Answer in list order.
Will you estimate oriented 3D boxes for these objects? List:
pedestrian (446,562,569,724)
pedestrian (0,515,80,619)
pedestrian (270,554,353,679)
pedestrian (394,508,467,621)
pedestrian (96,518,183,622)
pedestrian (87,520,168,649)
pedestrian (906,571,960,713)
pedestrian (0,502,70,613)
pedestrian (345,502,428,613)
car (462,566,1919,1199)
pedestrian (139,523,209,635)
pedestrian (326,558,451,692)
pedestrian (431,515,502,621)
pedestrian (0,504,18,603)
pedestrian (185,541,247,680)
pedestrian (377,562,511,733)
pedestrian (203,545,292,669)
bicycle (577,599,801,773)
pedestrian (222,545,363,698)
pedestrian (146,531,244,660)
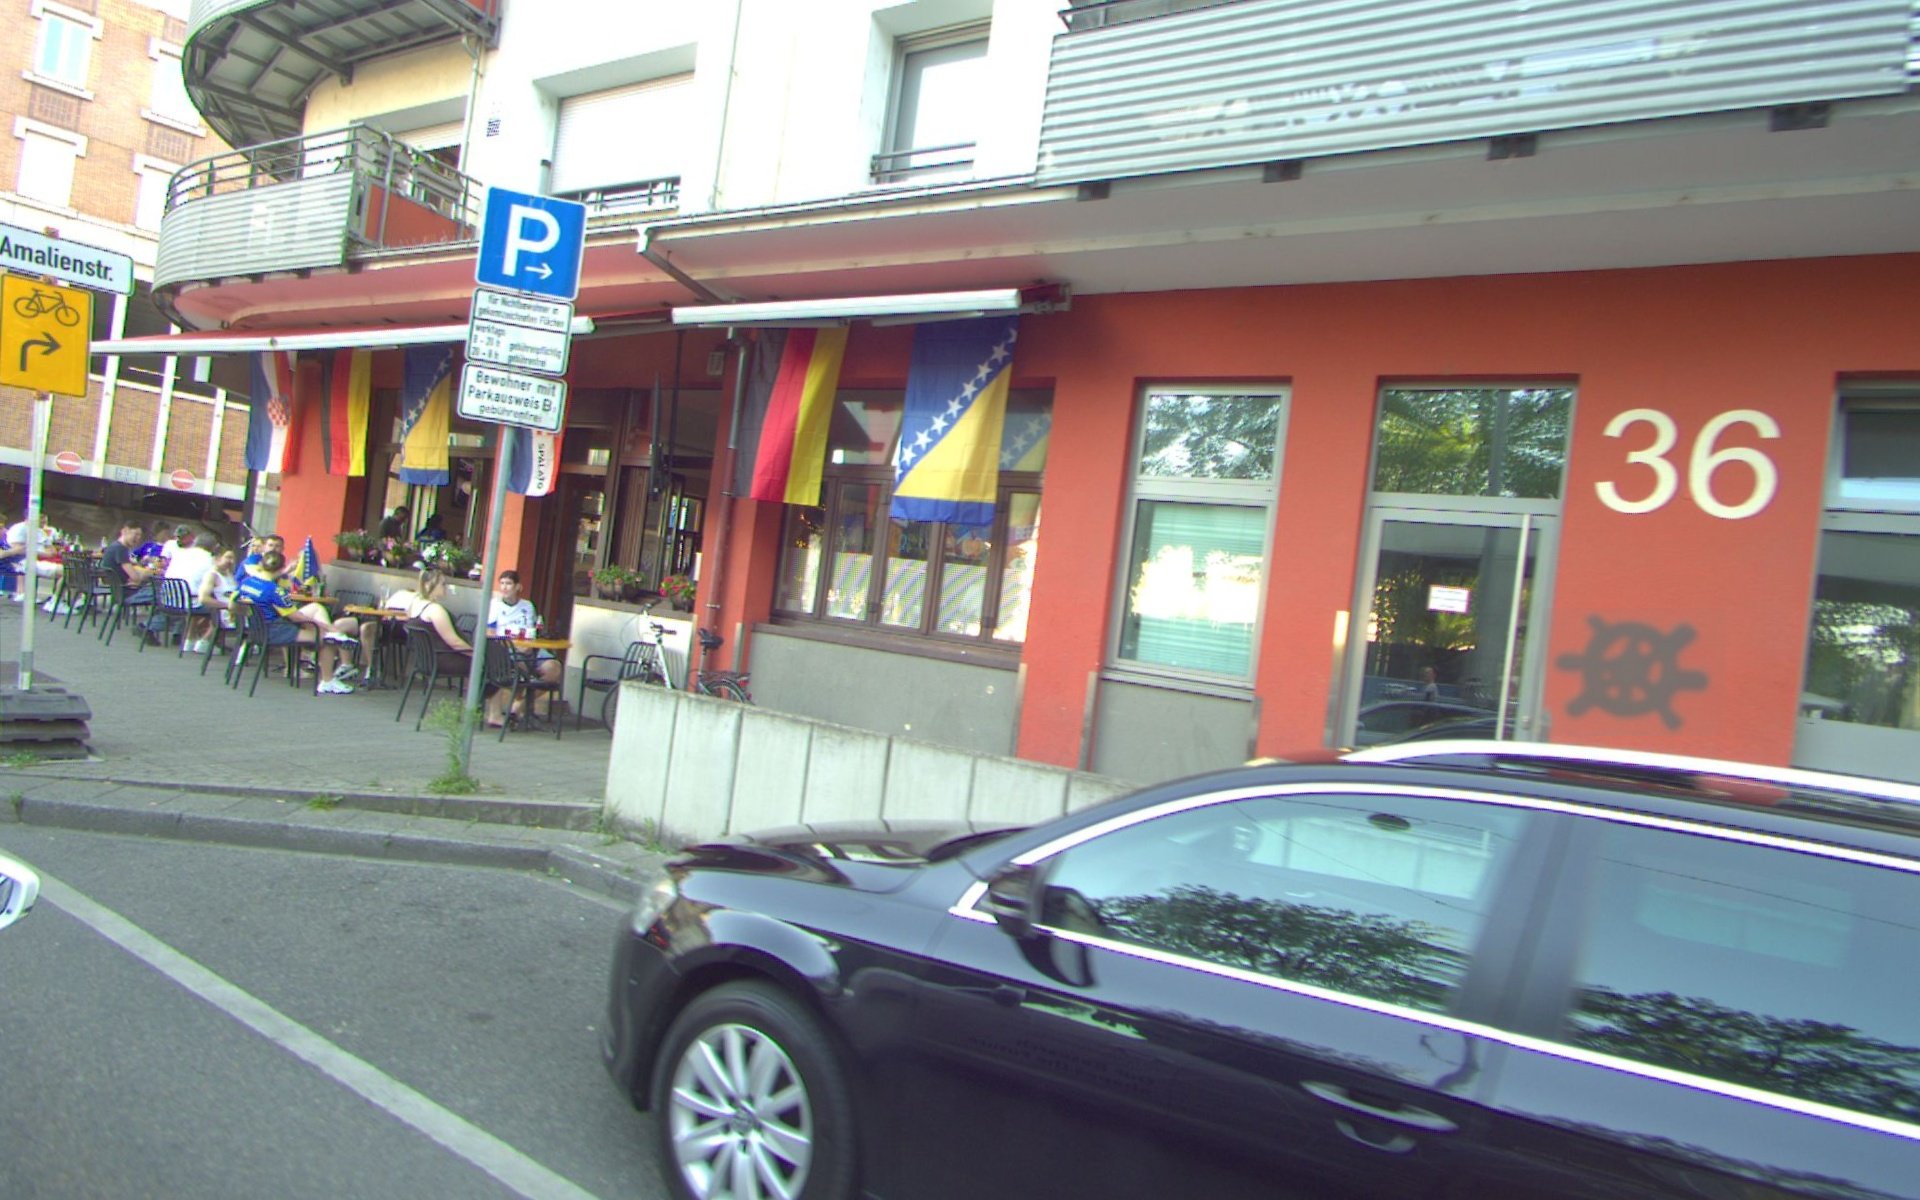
[{"bbox_3d":[-4.126,0.391,9.188,0.684,1.365,0.607,7,1,29],"label":"pedestrian"},{"bbox_3d":[-11.415,-0.415,12.221,0.609,1.163,0.890,7,0,37],"label":"pedestrian"},{"bbox_3d":[-6.712,0.165,10.431,0.529,1.217,0.417,6,2,-13],"label":"pedestrian"},{"bbox_3d":[-8.188,-0.541,15.570,0.598,1.625,0.534,8,-2,8],"label":"pedestrian"},{"bbox_3d":[-11.048,-0.403,13.573,0.611,1.294,0.697,7,0,-23],"label":"pedestrian"},{"bbox_3d":[-8.924,-0.155,10.783,0.411,1.320,0.491,7,2,30],"label":"pedestrian"},{"bbox_3d":[-0.332,0.519,12.422,0.420,1.680,0.431,8,-2,-1],"label":"pedestrian"},{"bbox_3d":[-11.823,-0.540,12.740,0.649,1.299,0.617,7,0,38],"label":"pedestrian"},{"bbox_3d":[-9.154,-0.664,16.078,0.675,1.625,0.716,8,-2,3],"label":"pedestrian"},{"bbox_3d":[1.188,1.030,2.370,4.709,1.518,1.771,7,-4,30],"label":"car"},{"bbox_3d":[-9.681,-0.259,12.396,0.514,1.292,0.489,7,0,43],"label":"pedestrian"},{"bbox_3d":[-5.807,0.254,10.231,0.702,1.239,0.779,7,2,30],"label":"pedestrian"},{"bbox_3d":[-8.184,-0.516,16.719,0.704,1.625,0.687,8,-2,-12],"label":"pedestrian"},{"bbox_3d":[-12.933,-0.662,13.193,0.724,1.269,0.617,7,0,36],"label":"pedestrian"},{"bbox_3d":[-7.080,0.100,9.572,0.355,1.273,0.342,8,3,42],"label":"pedestrian"},{"bbox_3d":[-4.249,0.392,8.295,0.599,1.302,0.686,7,0,39],"label":"pedestrian"},{"bbox_3d":[-7.439,0.067,10.516,0.560,1.217,0.417,6,2,-12],"label":"pedestrian"},{"bbox_3d":[-2.187,0.657,8.073,1.712,1.168,0.536,5,0,25],"label":"bicycle"},{"bbox_3d":[-5.967,0.194,9.017,0.483,1.273,0.859,7,2,30],"label":"pedestrian"},{"bbox_3d":[-8.130,-0.052,10.711,0.502,1.293,0.626,6,2,-8],"label":"pedestrian"}]
